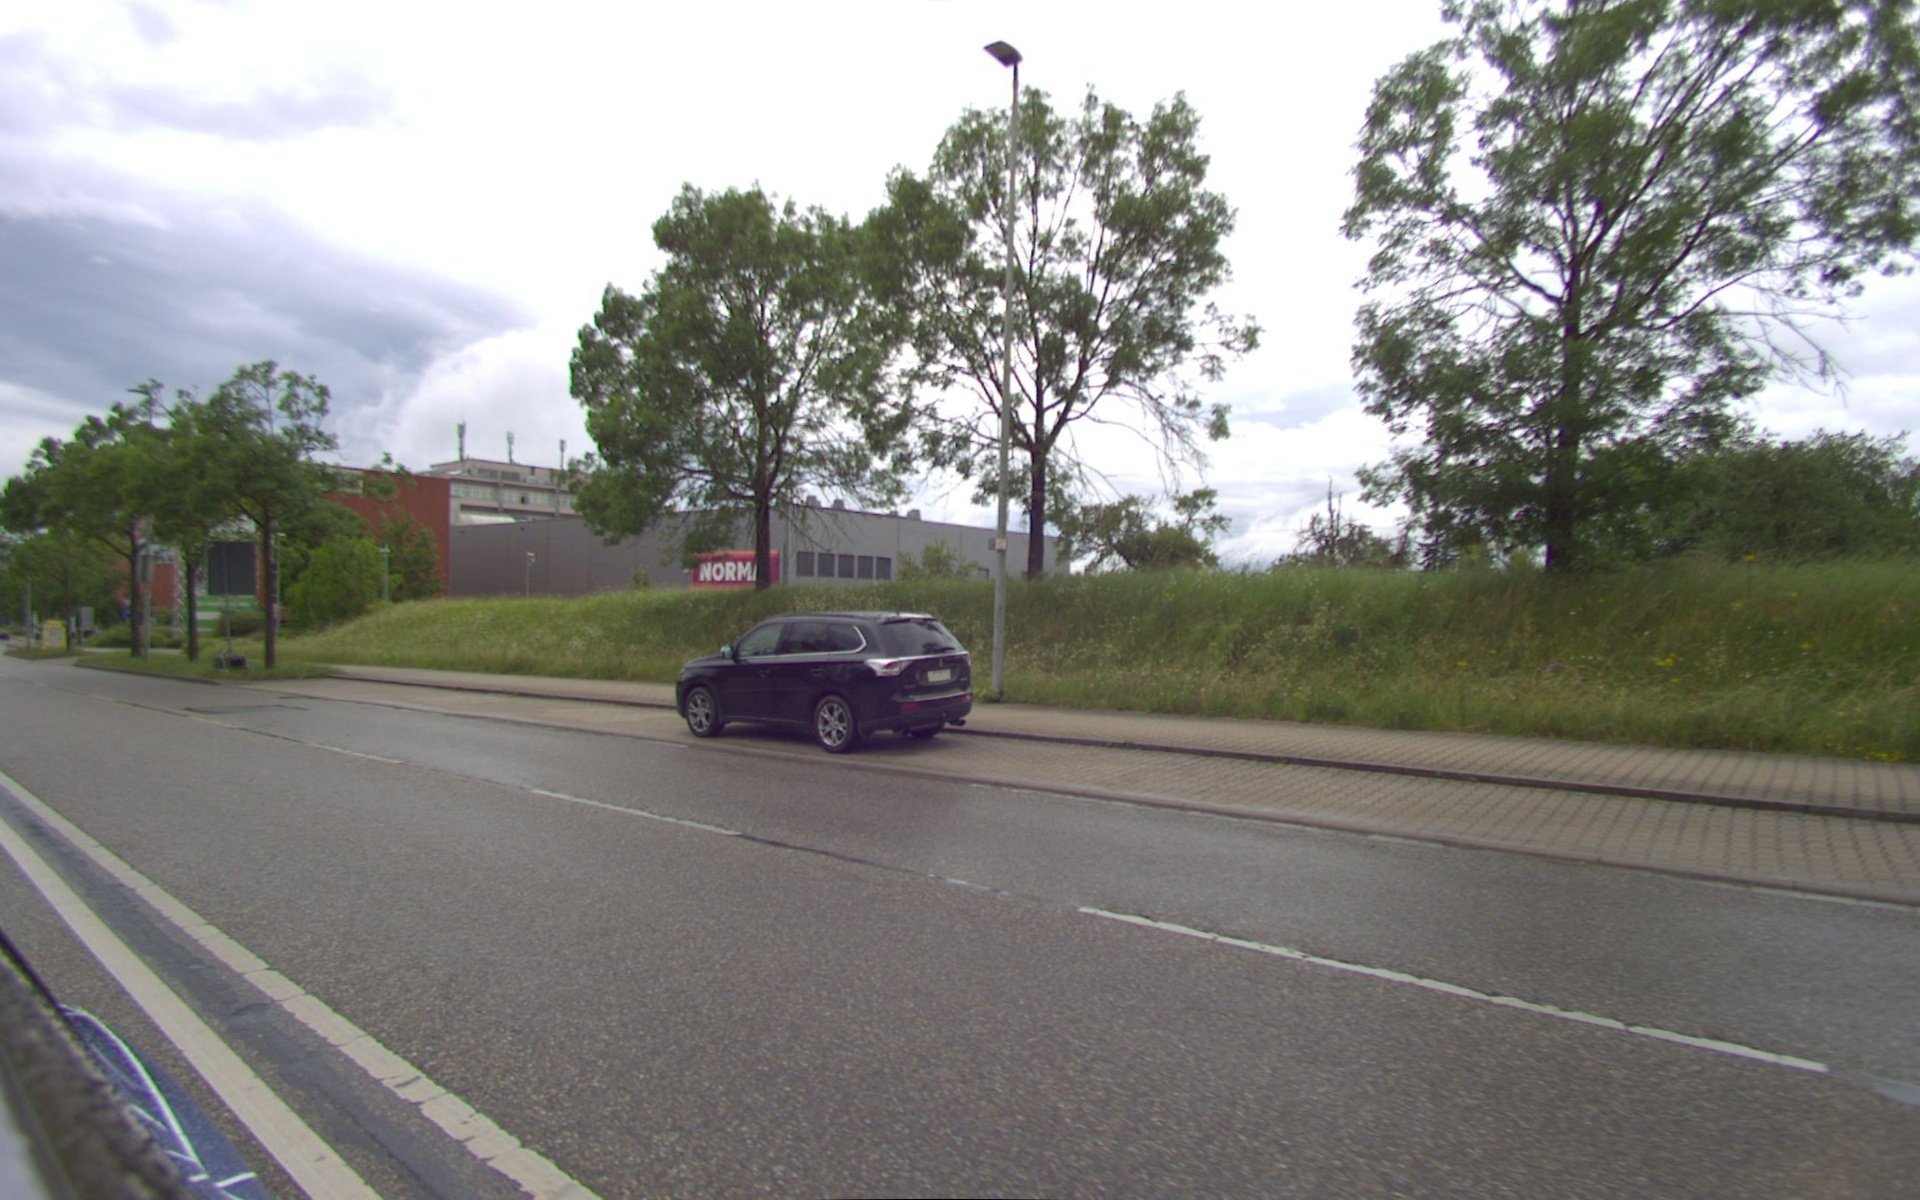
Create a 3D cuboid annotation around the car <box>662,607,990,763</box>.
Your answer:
[{"bbox_3d":[-1.889,0.986,13.252,4.485,1.681,1.708,-2,0,41],"label":"car"}]

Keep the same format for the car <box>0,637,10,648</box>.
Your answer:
[{"bbox_3d":[-129.273,5.734,136.386,1.716,1.465,4.003,3,-4,-44],"label":"car"}]
